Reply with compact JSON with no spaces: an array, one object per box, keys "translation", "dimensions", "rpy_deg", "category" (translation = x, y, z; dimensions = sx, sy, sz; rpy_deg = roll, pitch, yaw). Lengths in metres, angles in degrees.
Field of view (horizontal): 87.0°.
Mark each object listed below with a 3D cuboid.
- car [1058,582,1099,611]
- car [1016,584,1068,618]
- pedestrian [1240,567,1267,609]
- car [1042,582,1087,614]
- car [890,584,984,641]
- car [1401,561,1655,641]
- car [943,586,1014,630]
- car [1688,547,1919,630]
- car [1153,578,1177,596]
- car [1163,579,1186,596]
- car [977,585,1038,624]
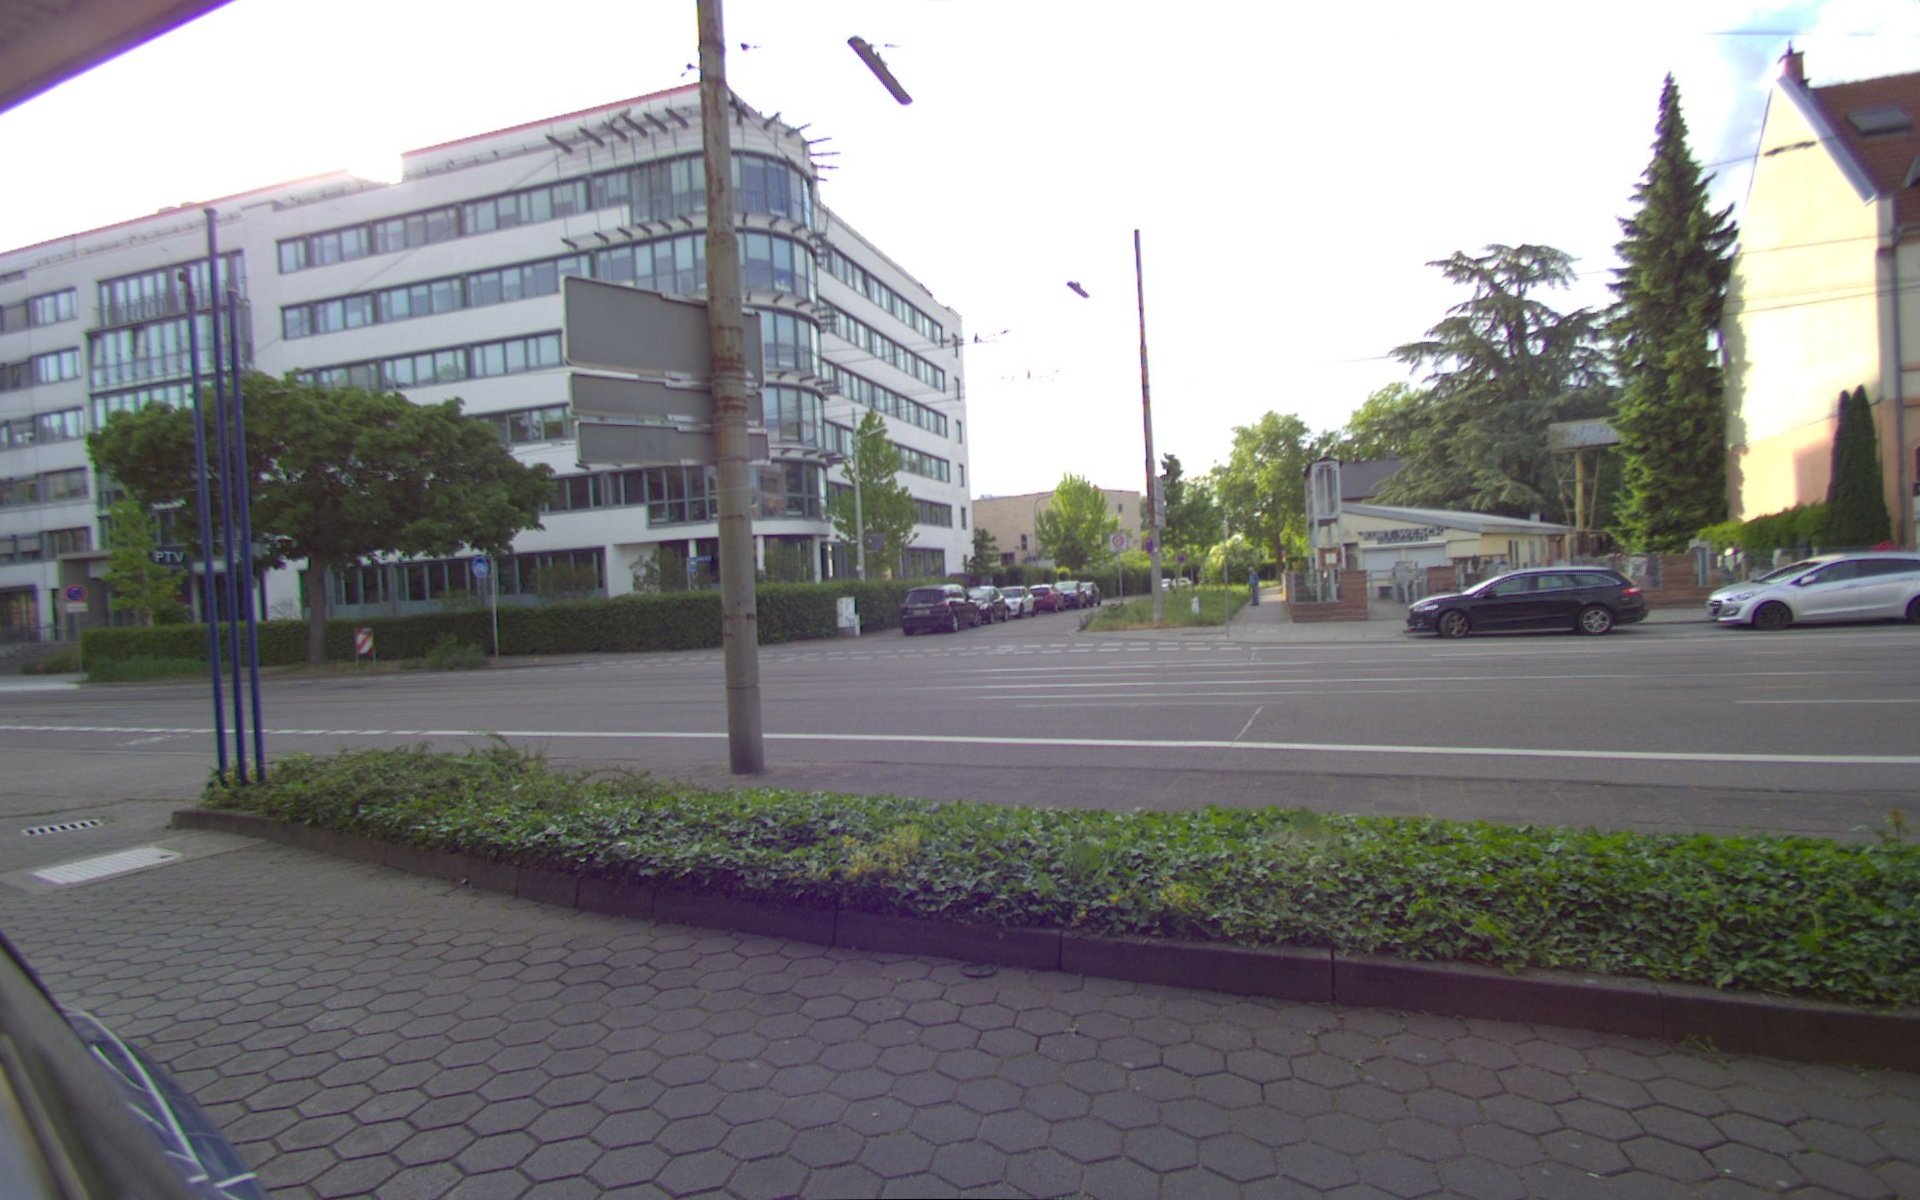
[{"translation":[7.373,-0.248,62.679],"dimensions":[1.773,1.653,4.064],"rpy_deg":[-4,0,17],"category":"car"},{"translation":[4.288,0.012,52.368],"dimensions":[1.773,1.552,4.018],"rpy_deg":[-4,0,17],"category":"car"},{"translation":[13.113,-0.528,45.166],"dimensions":[1.000,1.843,1.083],"rpy_deg":[-1,0,24],"category":"pedestrian"},{"translation":[5.982,-0.149,57.669],"dimensions":[1.773,1.653,4.064],"rpy_deg":[-4,0,17],"category":"car"},{"translation":[-0.721,0.375,35.544],"dimensions":[1.962,1.625,4.411],"rpy_deg":[-4,2,17],"category":"car"},{"translation":[12.918,0.040,23.423],"dimensions":[4.791,1.507,1.986],"rpy_deg":[-3,0,22],"category":"car"},{"translation":[0.799,0.281,40.901],"dimensions":[1.773,1.565,4.083],"rpy_deg":[-4,0,17],"category":"car"},{"translation":[18.495,-0.260,21.506],"dimensions":[4.459,1.486,1.986],"rpy_deg":[-4,0,22],"category":"car"},{"translation":[20.424,-1.297,100.622],"dimensions":[1.774,1.653,4.060],"rpy_deg":[-4,0,19],"category":"car"},{"translation":[22.562,-1.327,106.319],"dimensions":[1.774,1.653,4.060],"rpy_deg":[-4,0,19],"category":"car"},{"translation":[2.207,0.167,45.763],"dimensions":[1.773,1.565,4.083],"rpy_deg":[-4,0,17],"category":"car"}]
